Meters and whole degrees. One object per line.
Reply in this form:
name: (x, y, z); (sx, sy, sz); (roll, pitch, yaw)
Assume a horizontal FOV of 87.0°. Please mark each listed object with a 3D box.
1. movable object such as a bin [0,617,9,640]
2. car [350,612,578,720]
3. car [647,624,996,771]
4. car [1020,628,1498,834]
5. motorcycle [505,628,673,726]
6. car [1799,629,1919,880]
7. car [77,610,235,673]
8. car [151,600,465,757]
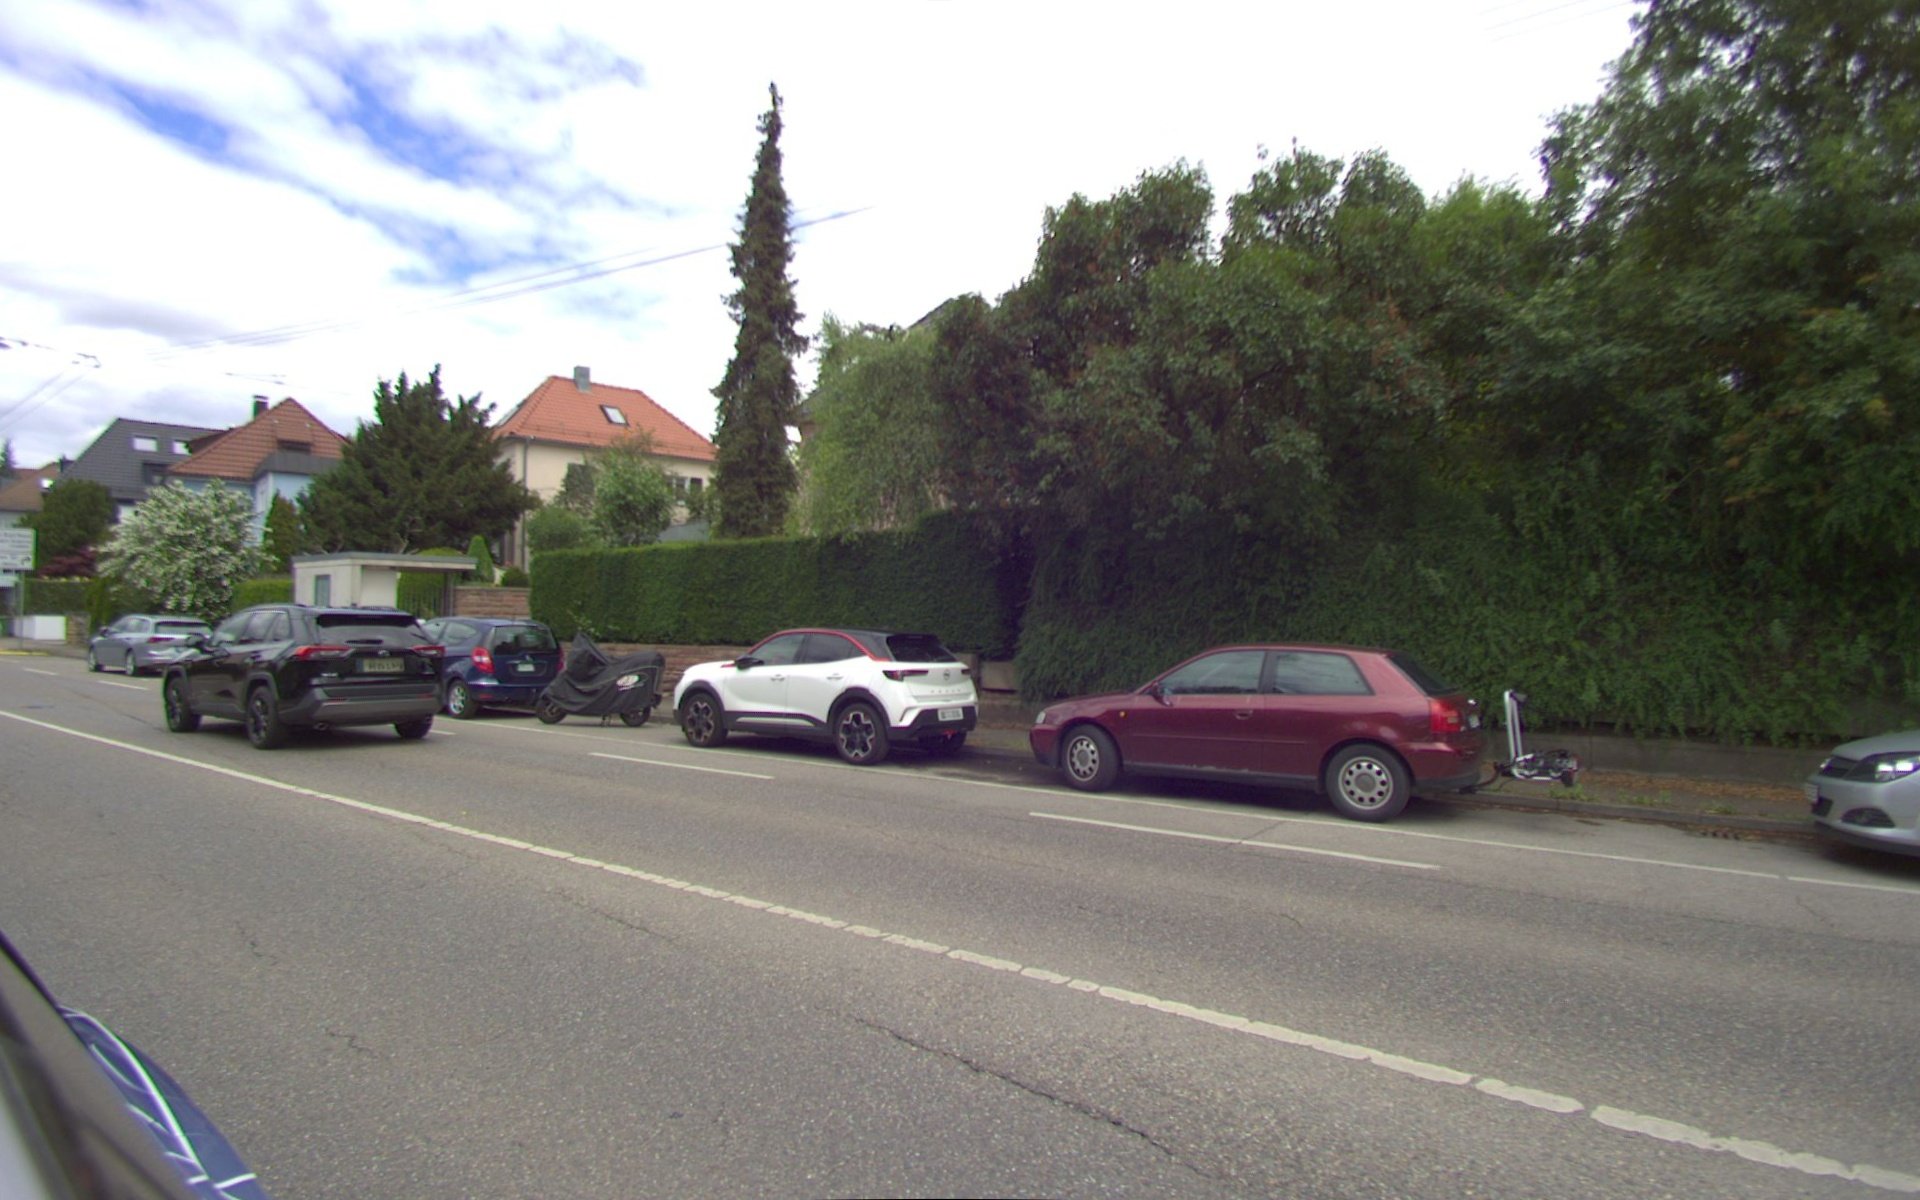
movable object such as a bin: (-42.673, 1.261, 44.960); (0.539, 0.981, 0.502); (-1, -2, 38)
car: (-8.351, 1.040, 16.934); (3.962, 1.568, 1.664); (0, -3, 35)
car: (-1.759, 1.083, 12.436); (4.016, 1.506, 1.874); (-1, -3, 34)
car: (2.648, 1.032, 9.278); (3.900, 1.489, 1.655); (-1, -3, 34)
motorcycle: (-5.487, 1.134, 14.977); (2.288, 1.366, 0.883); (-2, -4, 19)
car: (7.718, 0.951, 5.722); (4.421, 1.500, 1.655); (0, -3, 35)
car: (-20.131, 1.021, 25.297); (4.401, 1.466, 1.794); (-1, -3, 34)
car: (-8.224, 0.852, 12.656); (4.203, 1.659, 1.826); (0, -2, 35)
